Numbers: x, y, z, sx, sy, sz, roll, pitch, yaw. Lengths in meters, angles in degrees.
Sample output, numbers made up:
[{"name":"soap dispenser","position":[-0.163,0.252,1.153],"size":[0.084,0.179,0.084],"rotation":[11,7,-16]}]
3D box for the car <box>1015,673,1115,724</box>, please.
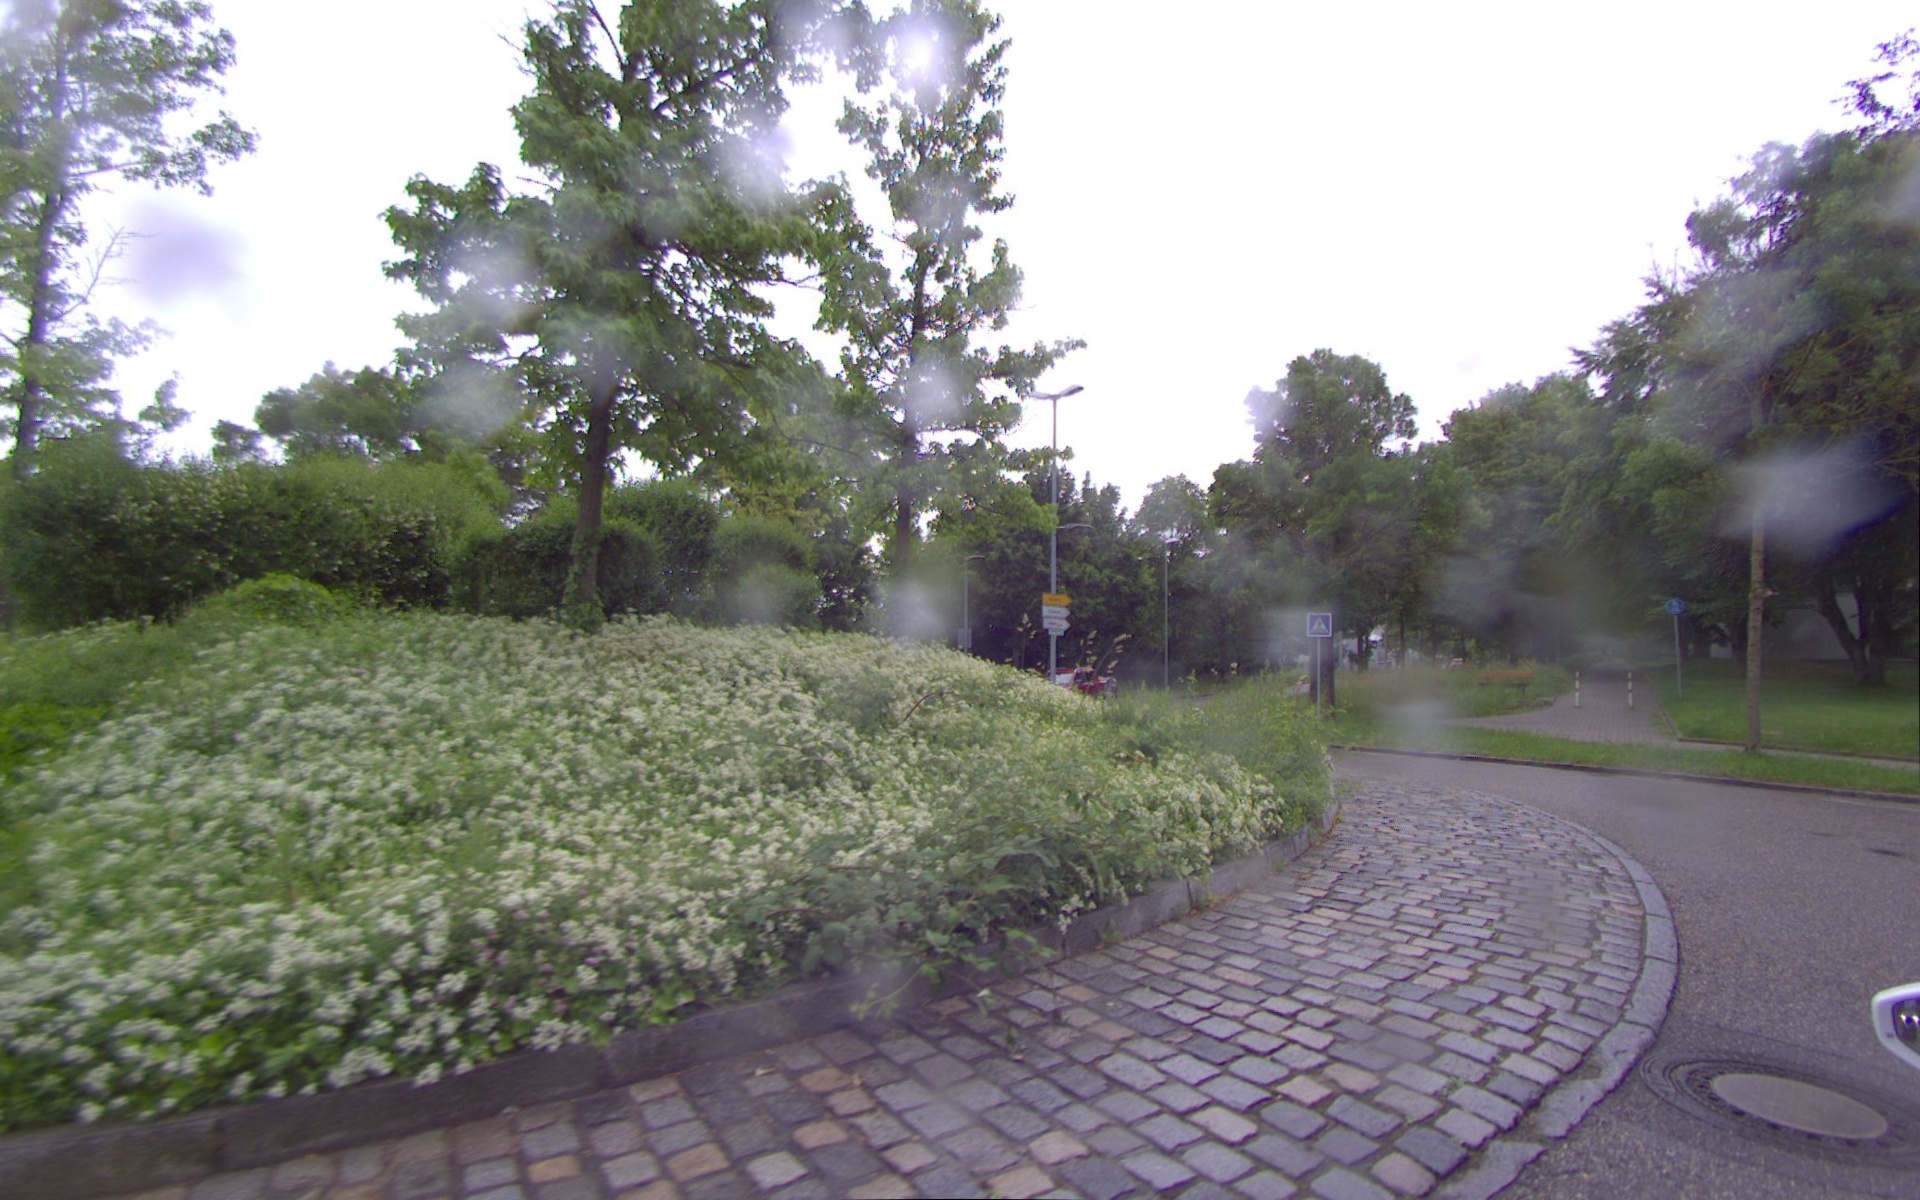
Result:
[{"name":"car","position":[4.151,3.731,38.837],"size":[1.965,1.818,5.102],"rotation":[-2,-4,30]}]
